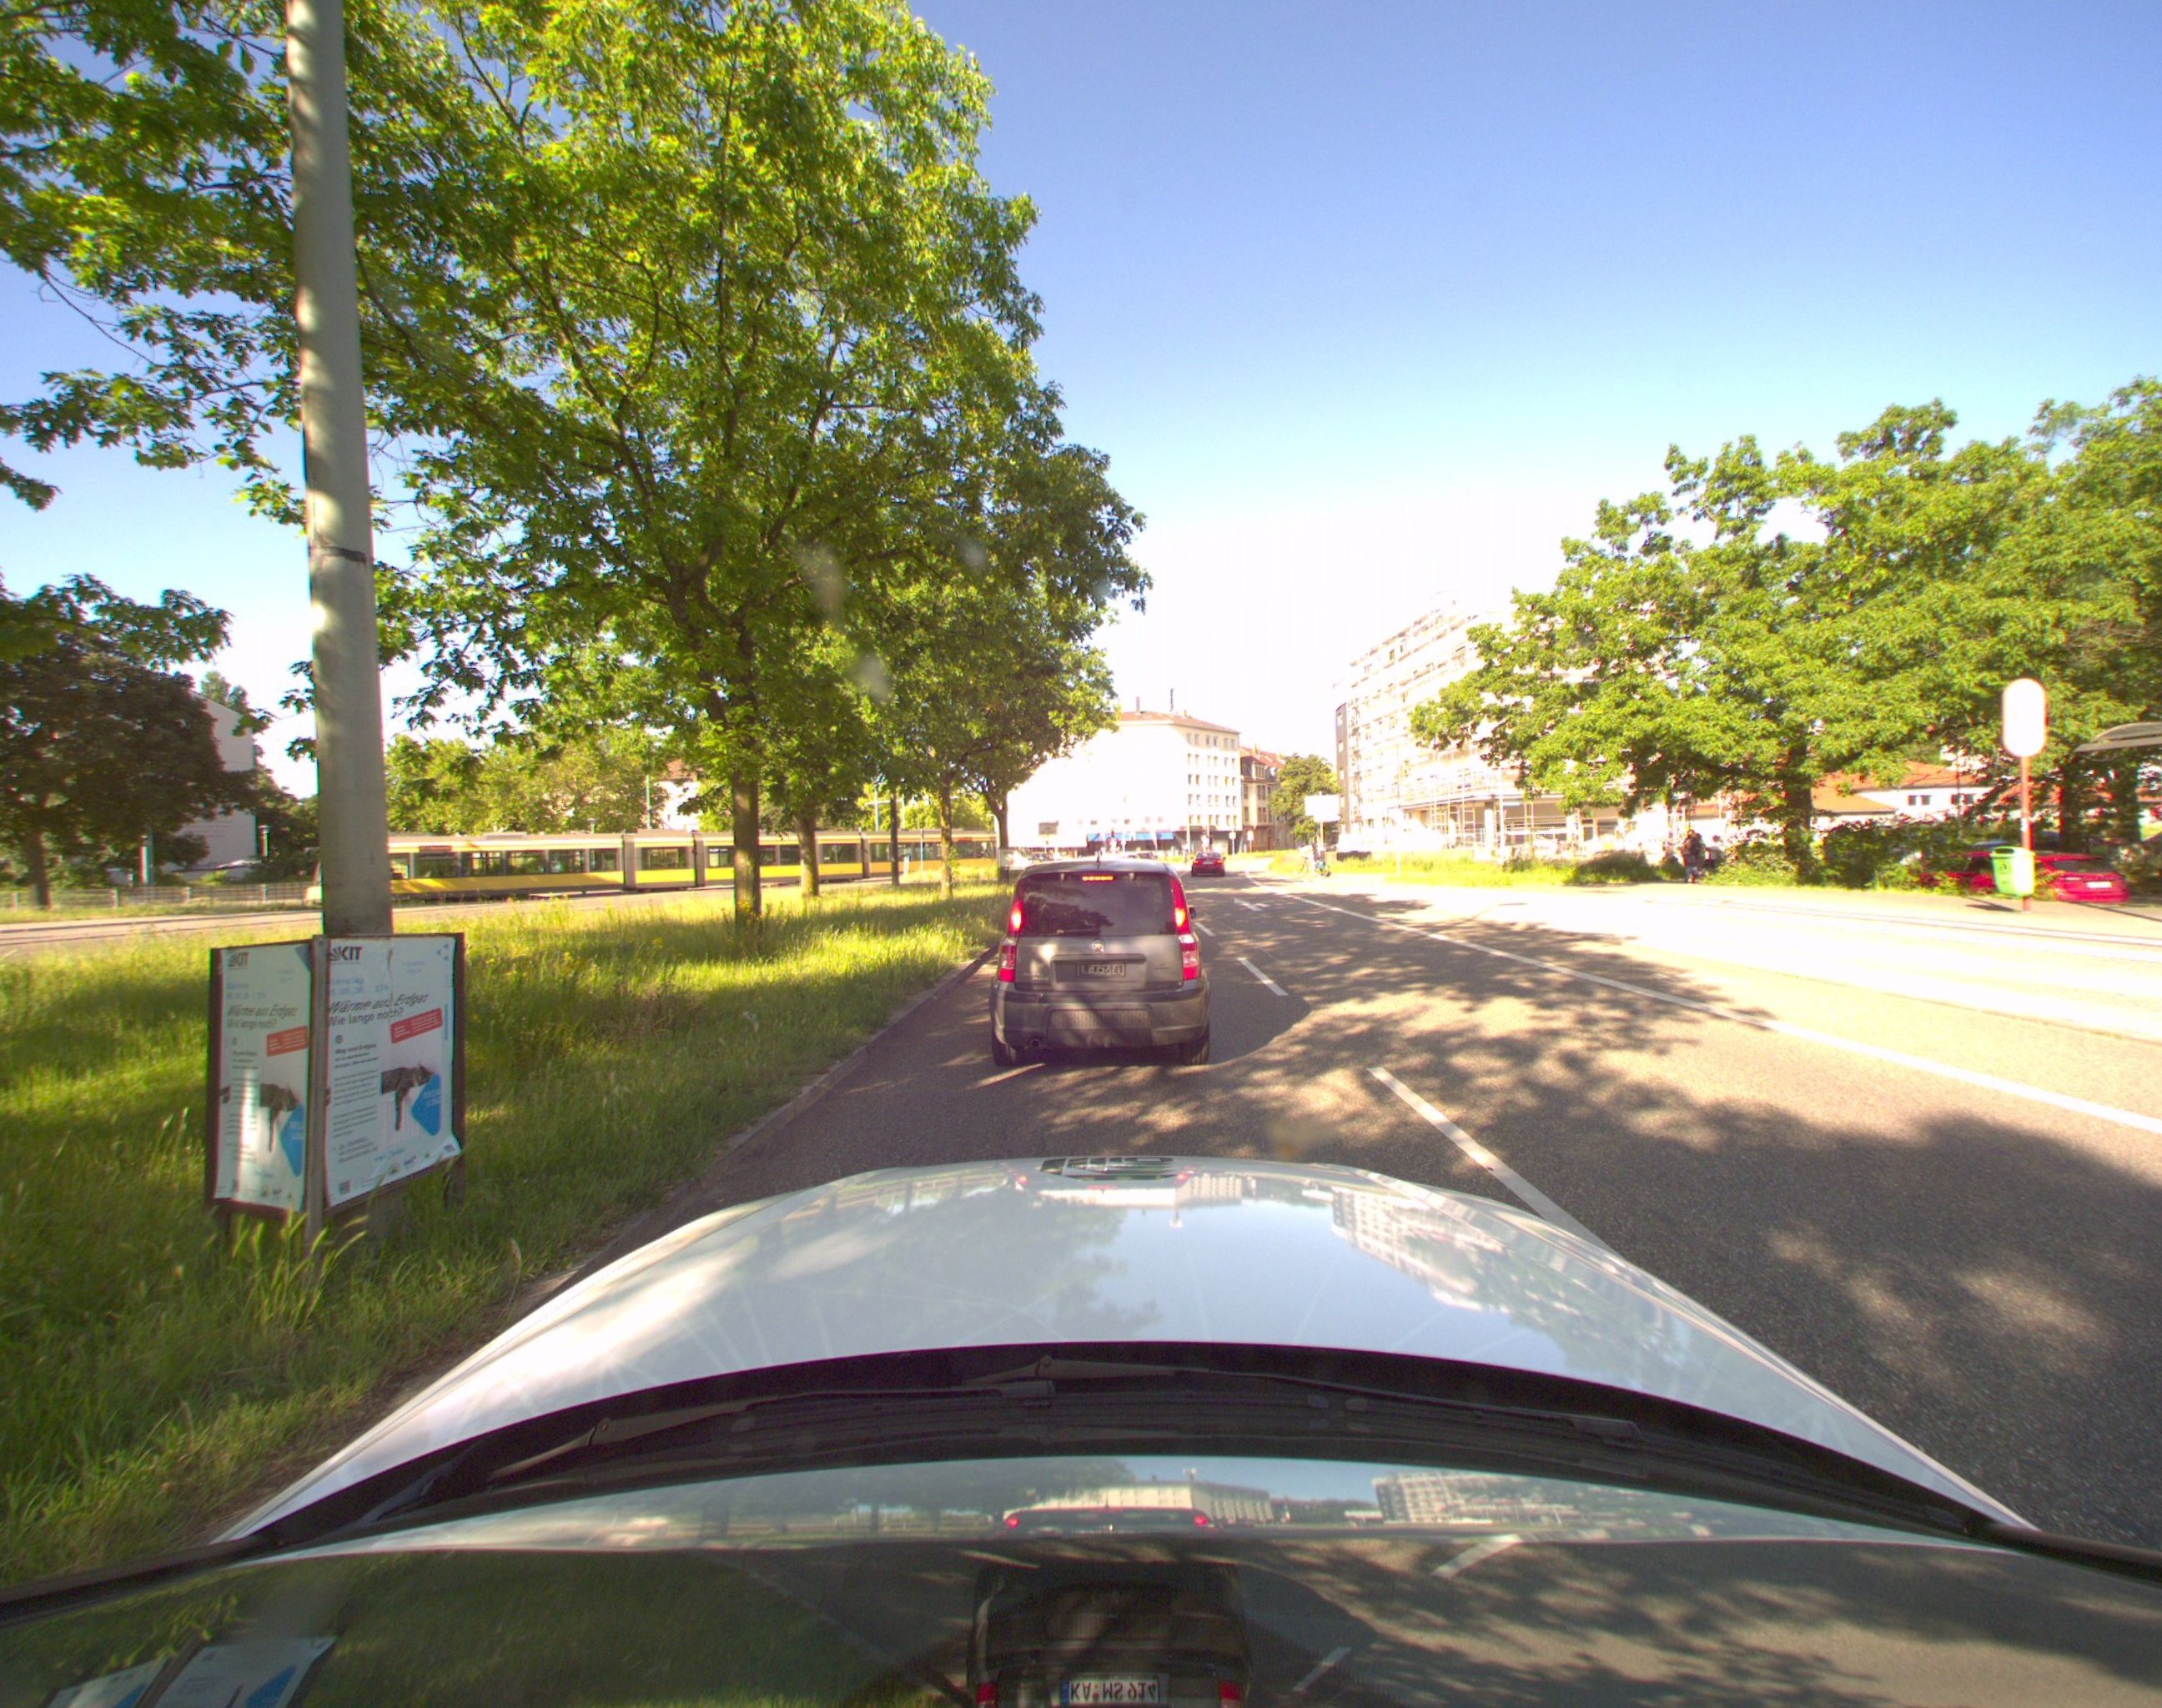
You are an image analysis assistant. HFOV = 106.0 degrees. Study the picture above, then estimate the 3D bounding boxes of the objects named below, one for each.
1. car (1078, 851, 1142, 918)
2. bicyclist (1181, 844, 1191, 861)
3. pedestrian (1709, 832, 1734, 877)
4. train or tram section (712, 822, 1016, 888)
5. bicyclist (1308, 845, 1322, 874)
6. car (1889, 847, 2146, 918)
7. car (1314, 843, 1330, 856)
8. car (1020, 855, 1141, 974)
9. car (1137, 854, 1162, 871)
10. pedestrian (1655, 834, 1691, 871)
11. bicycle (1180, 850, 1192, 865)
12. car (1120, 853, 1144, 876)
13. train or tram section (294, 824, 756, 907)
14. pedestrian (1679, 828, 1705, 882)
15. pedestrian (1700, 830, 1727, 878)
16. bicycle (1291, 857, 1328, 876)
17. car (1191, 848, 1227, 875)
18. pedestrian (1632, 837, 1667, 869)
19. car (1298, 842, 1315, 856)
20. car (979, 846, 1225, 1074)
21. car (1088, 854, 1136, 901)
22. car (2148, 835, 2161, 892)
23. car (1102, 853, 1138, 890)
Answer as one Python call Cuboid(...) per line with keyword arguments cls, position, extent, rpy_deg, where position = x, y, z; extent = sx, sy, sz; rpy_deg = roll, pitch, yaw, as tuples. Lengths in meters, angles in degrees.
Cuboid(cls="car", position=(0.728, 0.705, 20.800), extent=(1.458, 1.508, 3.506), rpy_deg=(-2, 0, 2))
Cuboid(cls="bicyclist", position=(8.817, -0.135, 68.324), extent=(0.739, 1.438, 0.845), rpy_deg=(0, -1, 0))
Cuboid(cls="pedestrian", position=(20.887, 0.017, 26.548), extent=(0.516, 1.447, 0.595), rpy_deg=(-2, 0, 28))
Cuboid(cls="train or tram section", position=(-13.466, -0.177, 54.851), extent=(3.265, 3.770, 20.933), rpy_deg=(-2, 0, 45))
Cuboid(cls="bicyclist", position=(12.238, 0.278, 42.595), extent=(0.578, 1.493, 0.554), rpy_deg=(-2, 0, 30))
Cuboid(cls="car", position=(21.989, 0.600, 19.379), extent=(1.747, 1.486, 3.743), rpy_deg=(-2, 0, -2))
Cuboid(cls="car", position=(27.746, -0.530, 93.563), extent=(1.514, 1.314, 3.304), rpy_deg=(-2, 0, 20))
Cuboid(cls="car", position=(0.051, 0.755, 11.768), extent=(1.458, 1.401, 3.395), rpy_deg=(-2, 0, 2))
Cuboid(cls="car", position=(4.869, 0.583, 57.722), extent=(1.133, 1.064, 2.735), rpy_deg=(-2, 0, 19))
Cuboid(cls="pedestrian", position=(27.203, -0.074, 37.446), extent=(0.889, 1.653, 0.983), rpy_deg=(-2, 0, -14))
Cuboid(cls="bicycle", position=(8.802, 0.299, 68.262), extent=(0.706, 1.198, 2.520), rpy_deg=(0, -1, 1))
Cuboid(cls="car", position=(3.099, 0.618, 49.689), extent=(1.351, 1.281, 2.877), rpy_deg=(-2, 0, 2))
Cuboid(cls="train or tram section", position=(-27.844, 0.345, 43.083), extent=(19.458, 3.513, 3.272), rpy_deg=(-2, 0, -33))
Cuboid(cls="pedestrian", position=(18.573, 0.016, 24.757), extent=(0.516, 1.612, 0.595), rpy_deg=(-2, 0, 28))
Cuboid(cls="pedestrian", position=(19.348, -0.005, 24.919), extent=(0.516, 1.447, 0.595), rpy_deg=(-2, 0, 28))
Cuboid(cls="bicycle", position=(11.997, 0.647, 42.810), extent=(1.772, 0.945, 0.563), rpy_deg=(-2, 0, 31))
Cuboid(cls="car", position=(7.207, 0.398, 46.199), extent=(1.876, 1.428, 4.397), rpy_deg=(-1, 1, 8))
Cuboid(cls="pedestrian", position=(25.996, -0.052, 37.260), extent=(0.893, 1.447, 0.962), rpy_deg=(-2, 0, -13))
Cuboid(cls="car", position=(24.920, -0.533, 90.001), extent=(1.669, 1.449, 3.588), rpy_deg=(-2, 0, 18))
Cuboid(cls="car", position=(0.206, 0.710, 7.541), extent=(1.622, 1.508, 4.002), rpy_deg=(-2, 0, 2))
Cuboid(cls="car", position=(1.032, 0.735, 27.403), extent=(1.458, 1.424, 3.383), rpy_deg=(-2, 0, 2))
Cuboid(cls="car", position=(29.864, 0.219, 20.182), extent=(1.911, 1.486, 3.725), rpy_deg=(-2, 0, -17))
Cuboid(cls="car", position=(1.604, 0.700, 33.973), extent=(1.351, 1.449, 3.267), rpy_deg=(-2, 0, 2))
